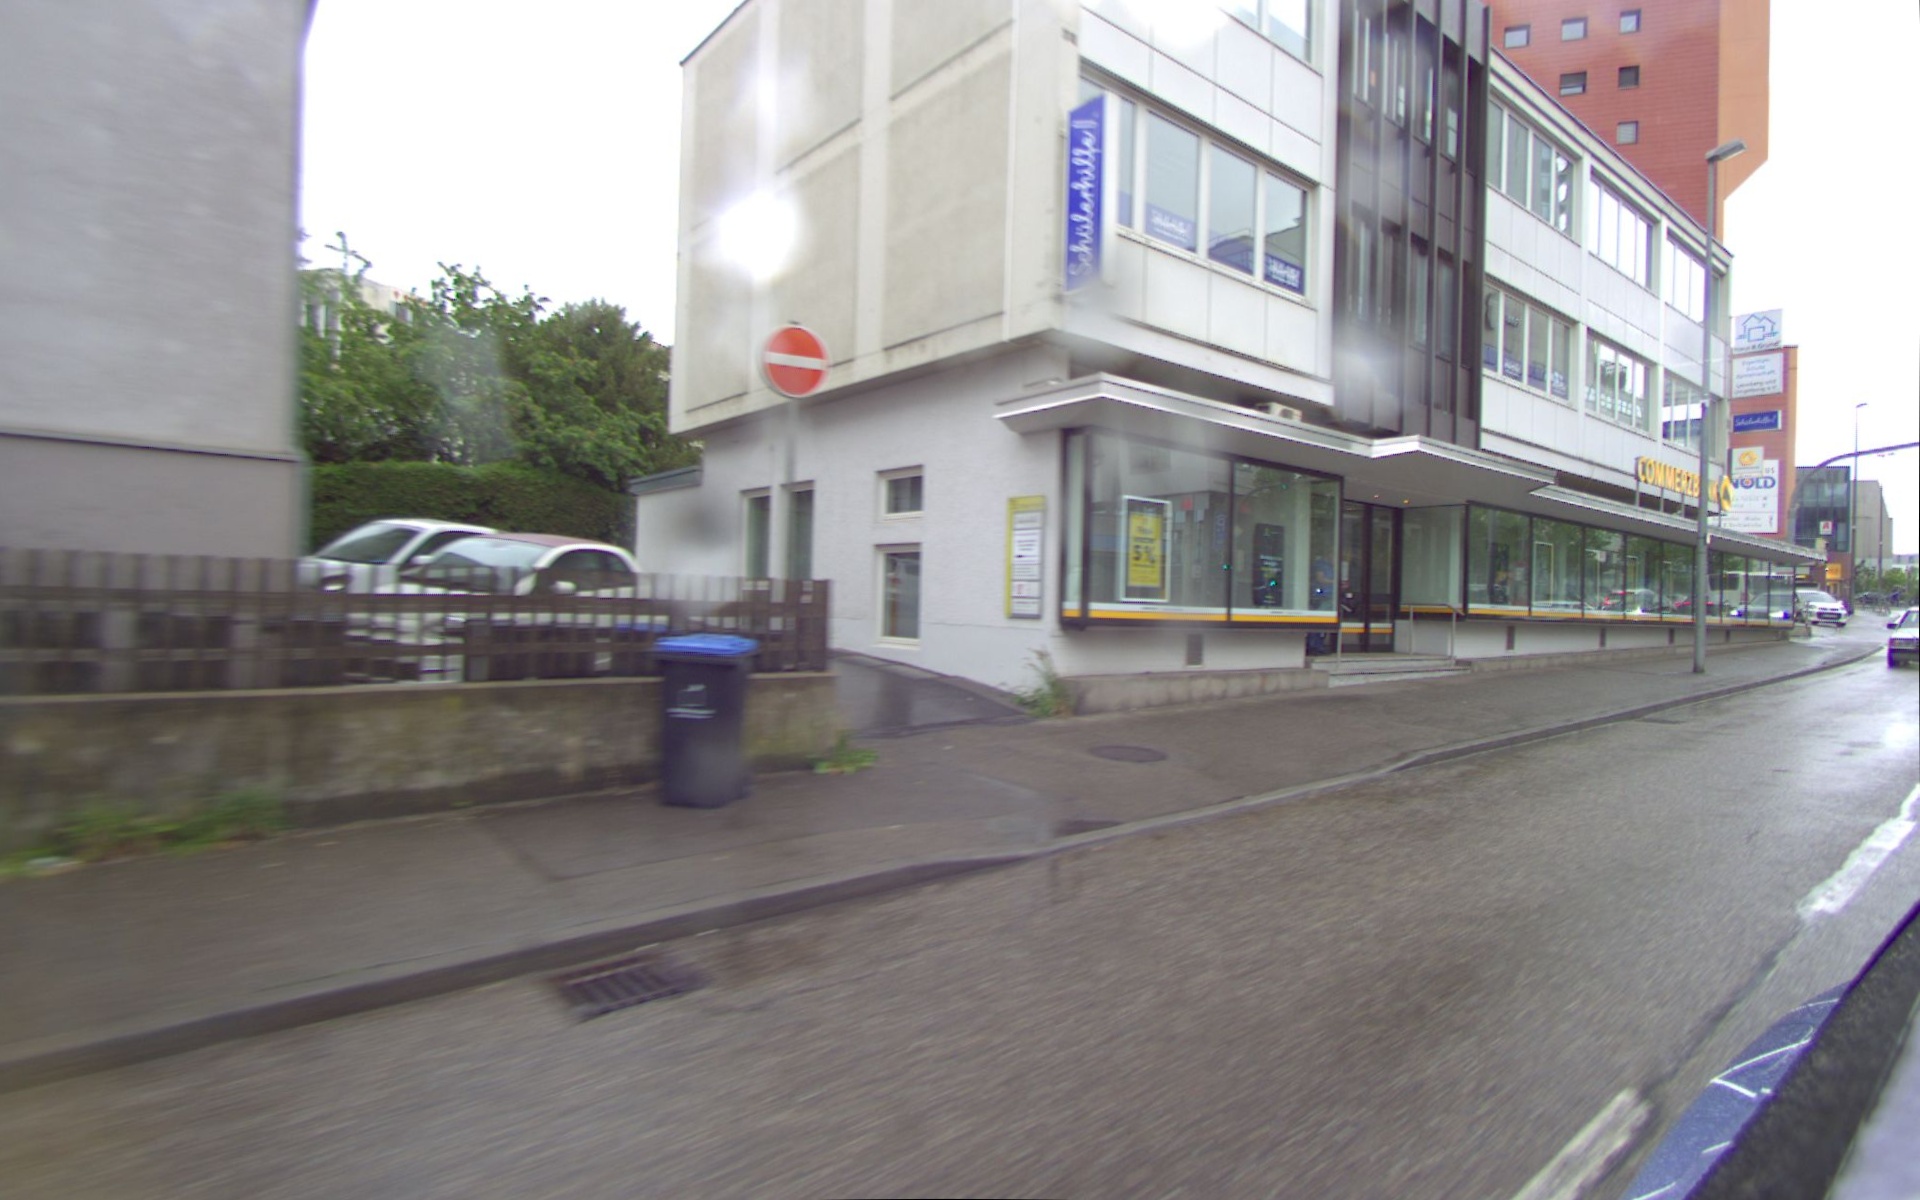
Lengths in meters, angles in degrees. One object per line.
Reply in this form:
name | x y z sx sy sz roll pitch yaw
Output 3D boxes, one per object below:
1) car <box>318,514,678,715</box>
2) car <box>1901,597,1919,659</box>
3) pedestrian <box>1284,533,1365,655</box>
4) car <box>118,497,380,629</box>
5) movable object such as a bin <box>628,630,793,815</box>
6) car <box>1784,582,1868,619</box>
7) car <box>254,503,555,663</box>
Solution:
car | -4.187 0.053 9.720 1.336 1.520 3.326 4 2 14
car | 23.221 0.645 23.540 3.928 1.324 1.660 -1 2 -43
pedestrian | 5.622 -0.084 15.605 0.934 1.803 0.732 2 -1 -33
car | -12.200 -0.625 17.460 3.554 2.038 1.745 -1 2 -41
movable object such as a bin | -1.600 0.746 6.500 0.816 1.061 0.577 2 1 -41
car | 37.172 -0.015 43.518 1.596 1.480 3.402 1 2 20
car | -6.270 -0.218 11.669 1.304 1.563 2.787 4 3 25
